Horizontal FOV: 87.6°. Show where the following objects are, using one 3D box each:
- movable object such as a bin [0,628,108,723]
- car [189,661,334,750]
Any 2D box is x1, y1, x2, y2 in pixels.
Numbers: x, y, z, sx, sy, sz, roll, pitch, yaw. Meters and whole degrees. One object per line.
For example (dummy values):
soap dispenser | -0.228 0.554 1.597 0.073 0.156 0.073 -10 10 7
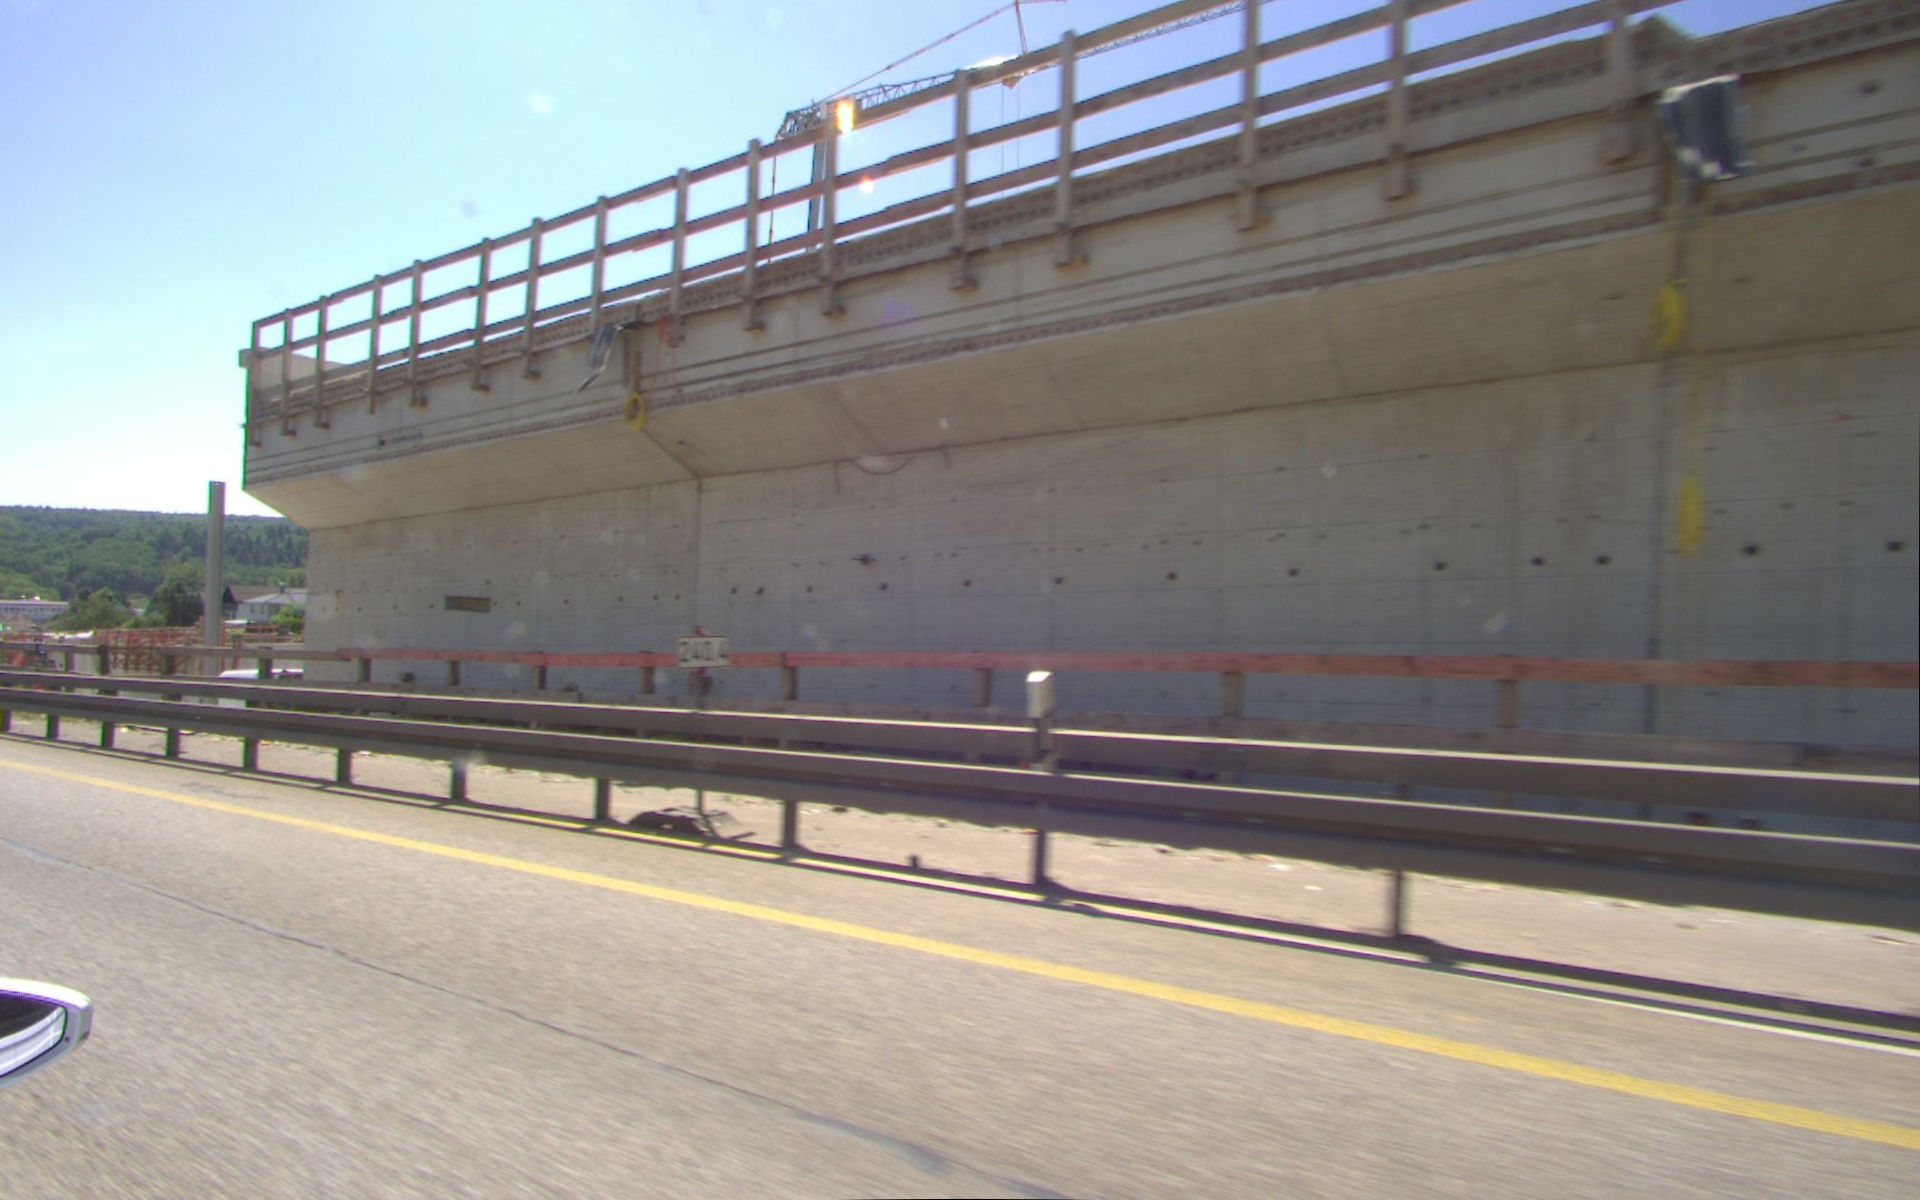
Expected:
movable object such as a bin | -50.300 4.005 54.498 9.518 4.803 3.222 -2 -2 32
car | -25.319 3.697 36.198 6.931 2.892 2.139 -2 -2 36
